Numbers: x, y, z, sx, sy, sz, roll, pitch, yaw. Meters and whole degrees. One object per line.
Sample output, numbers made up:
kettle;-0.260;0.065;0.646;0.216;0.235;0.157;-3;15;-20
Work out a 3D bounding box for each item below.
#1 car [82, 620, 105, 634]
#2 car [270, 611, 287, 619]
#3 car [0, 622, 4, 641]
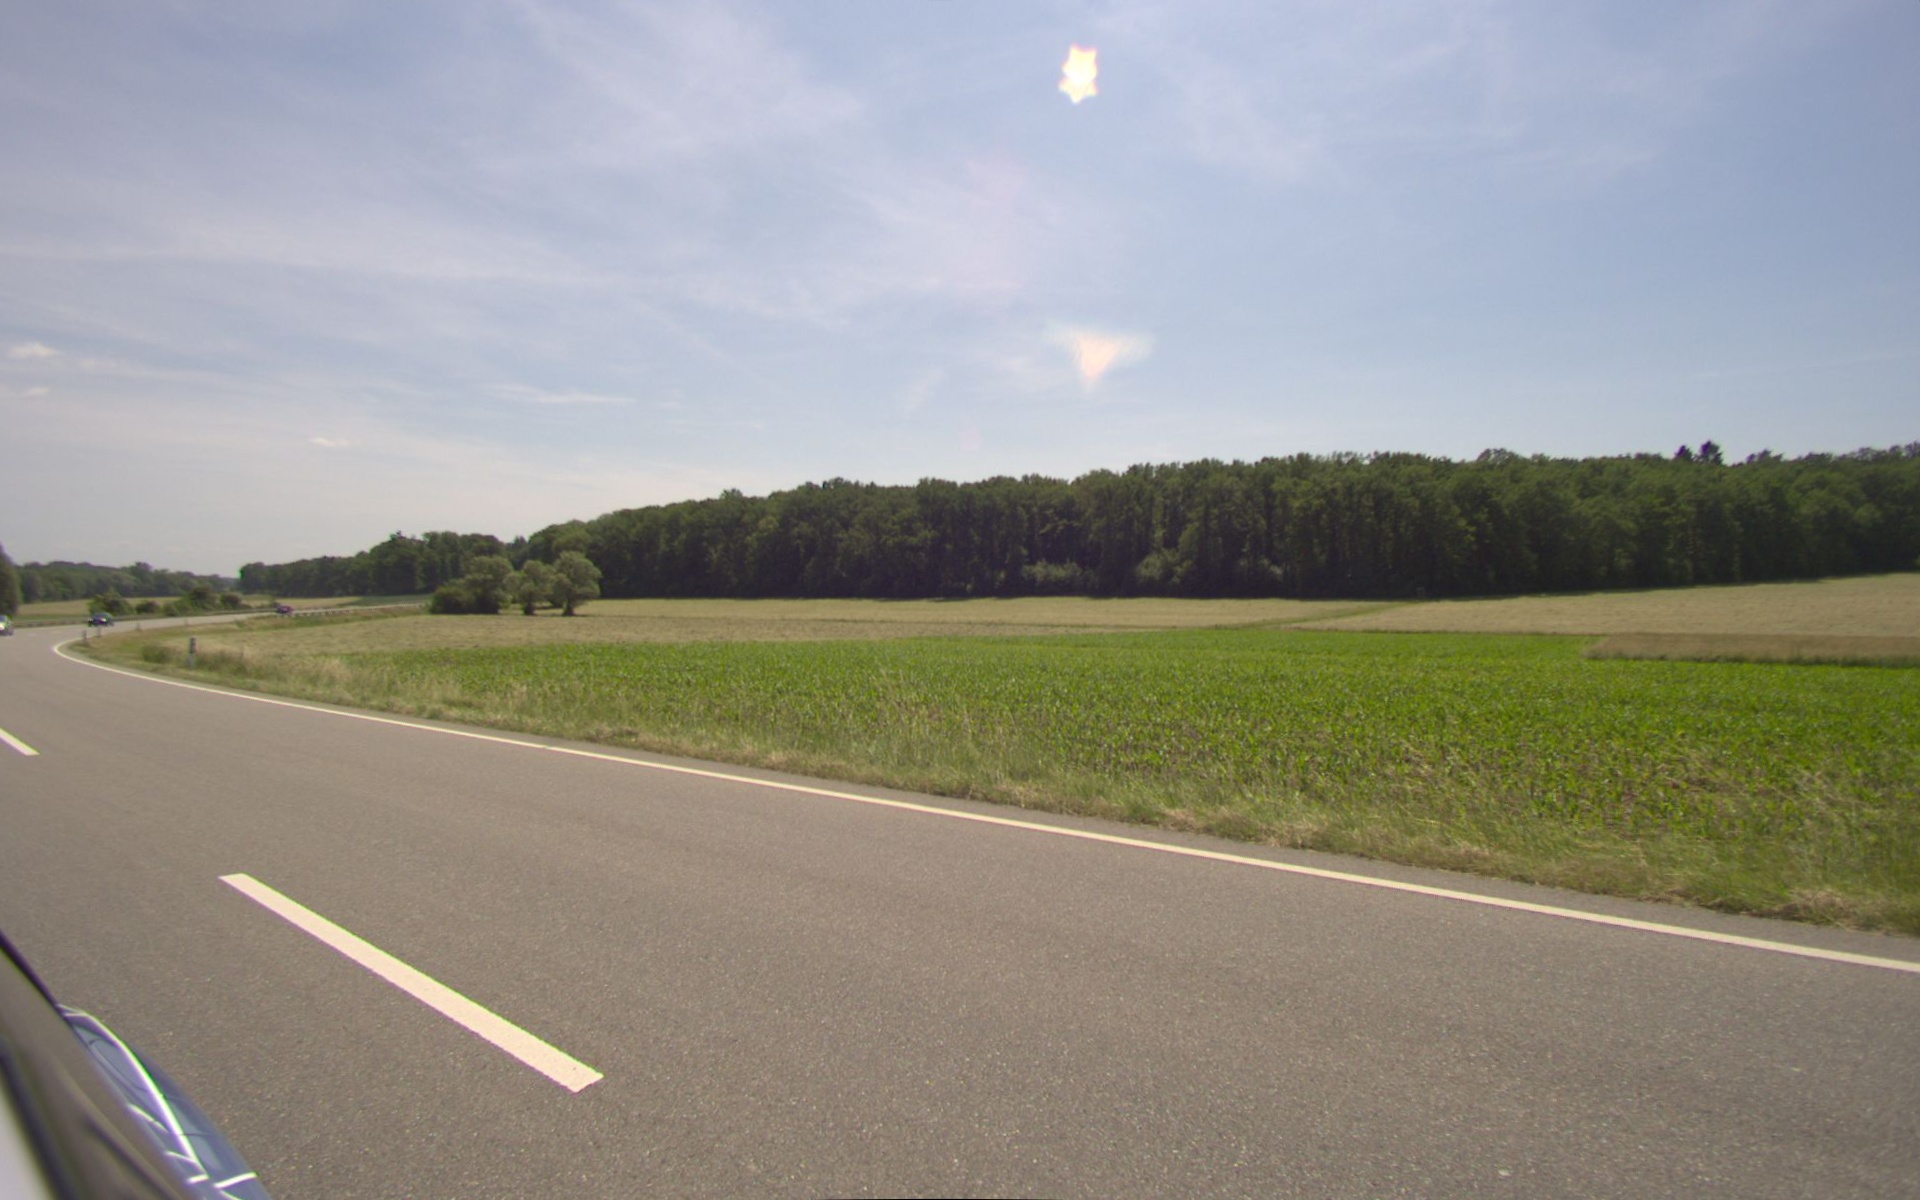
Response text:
car;-97.540;3.018;113.940;1.596;1.447;3.452;0;1;-35
car;-129.528;2.787;192.318;1.595;1.447;3.453;1;1;-15
car;-74.862;2.400;77.893;1.597;1.447;3.449;1;-1;-39
